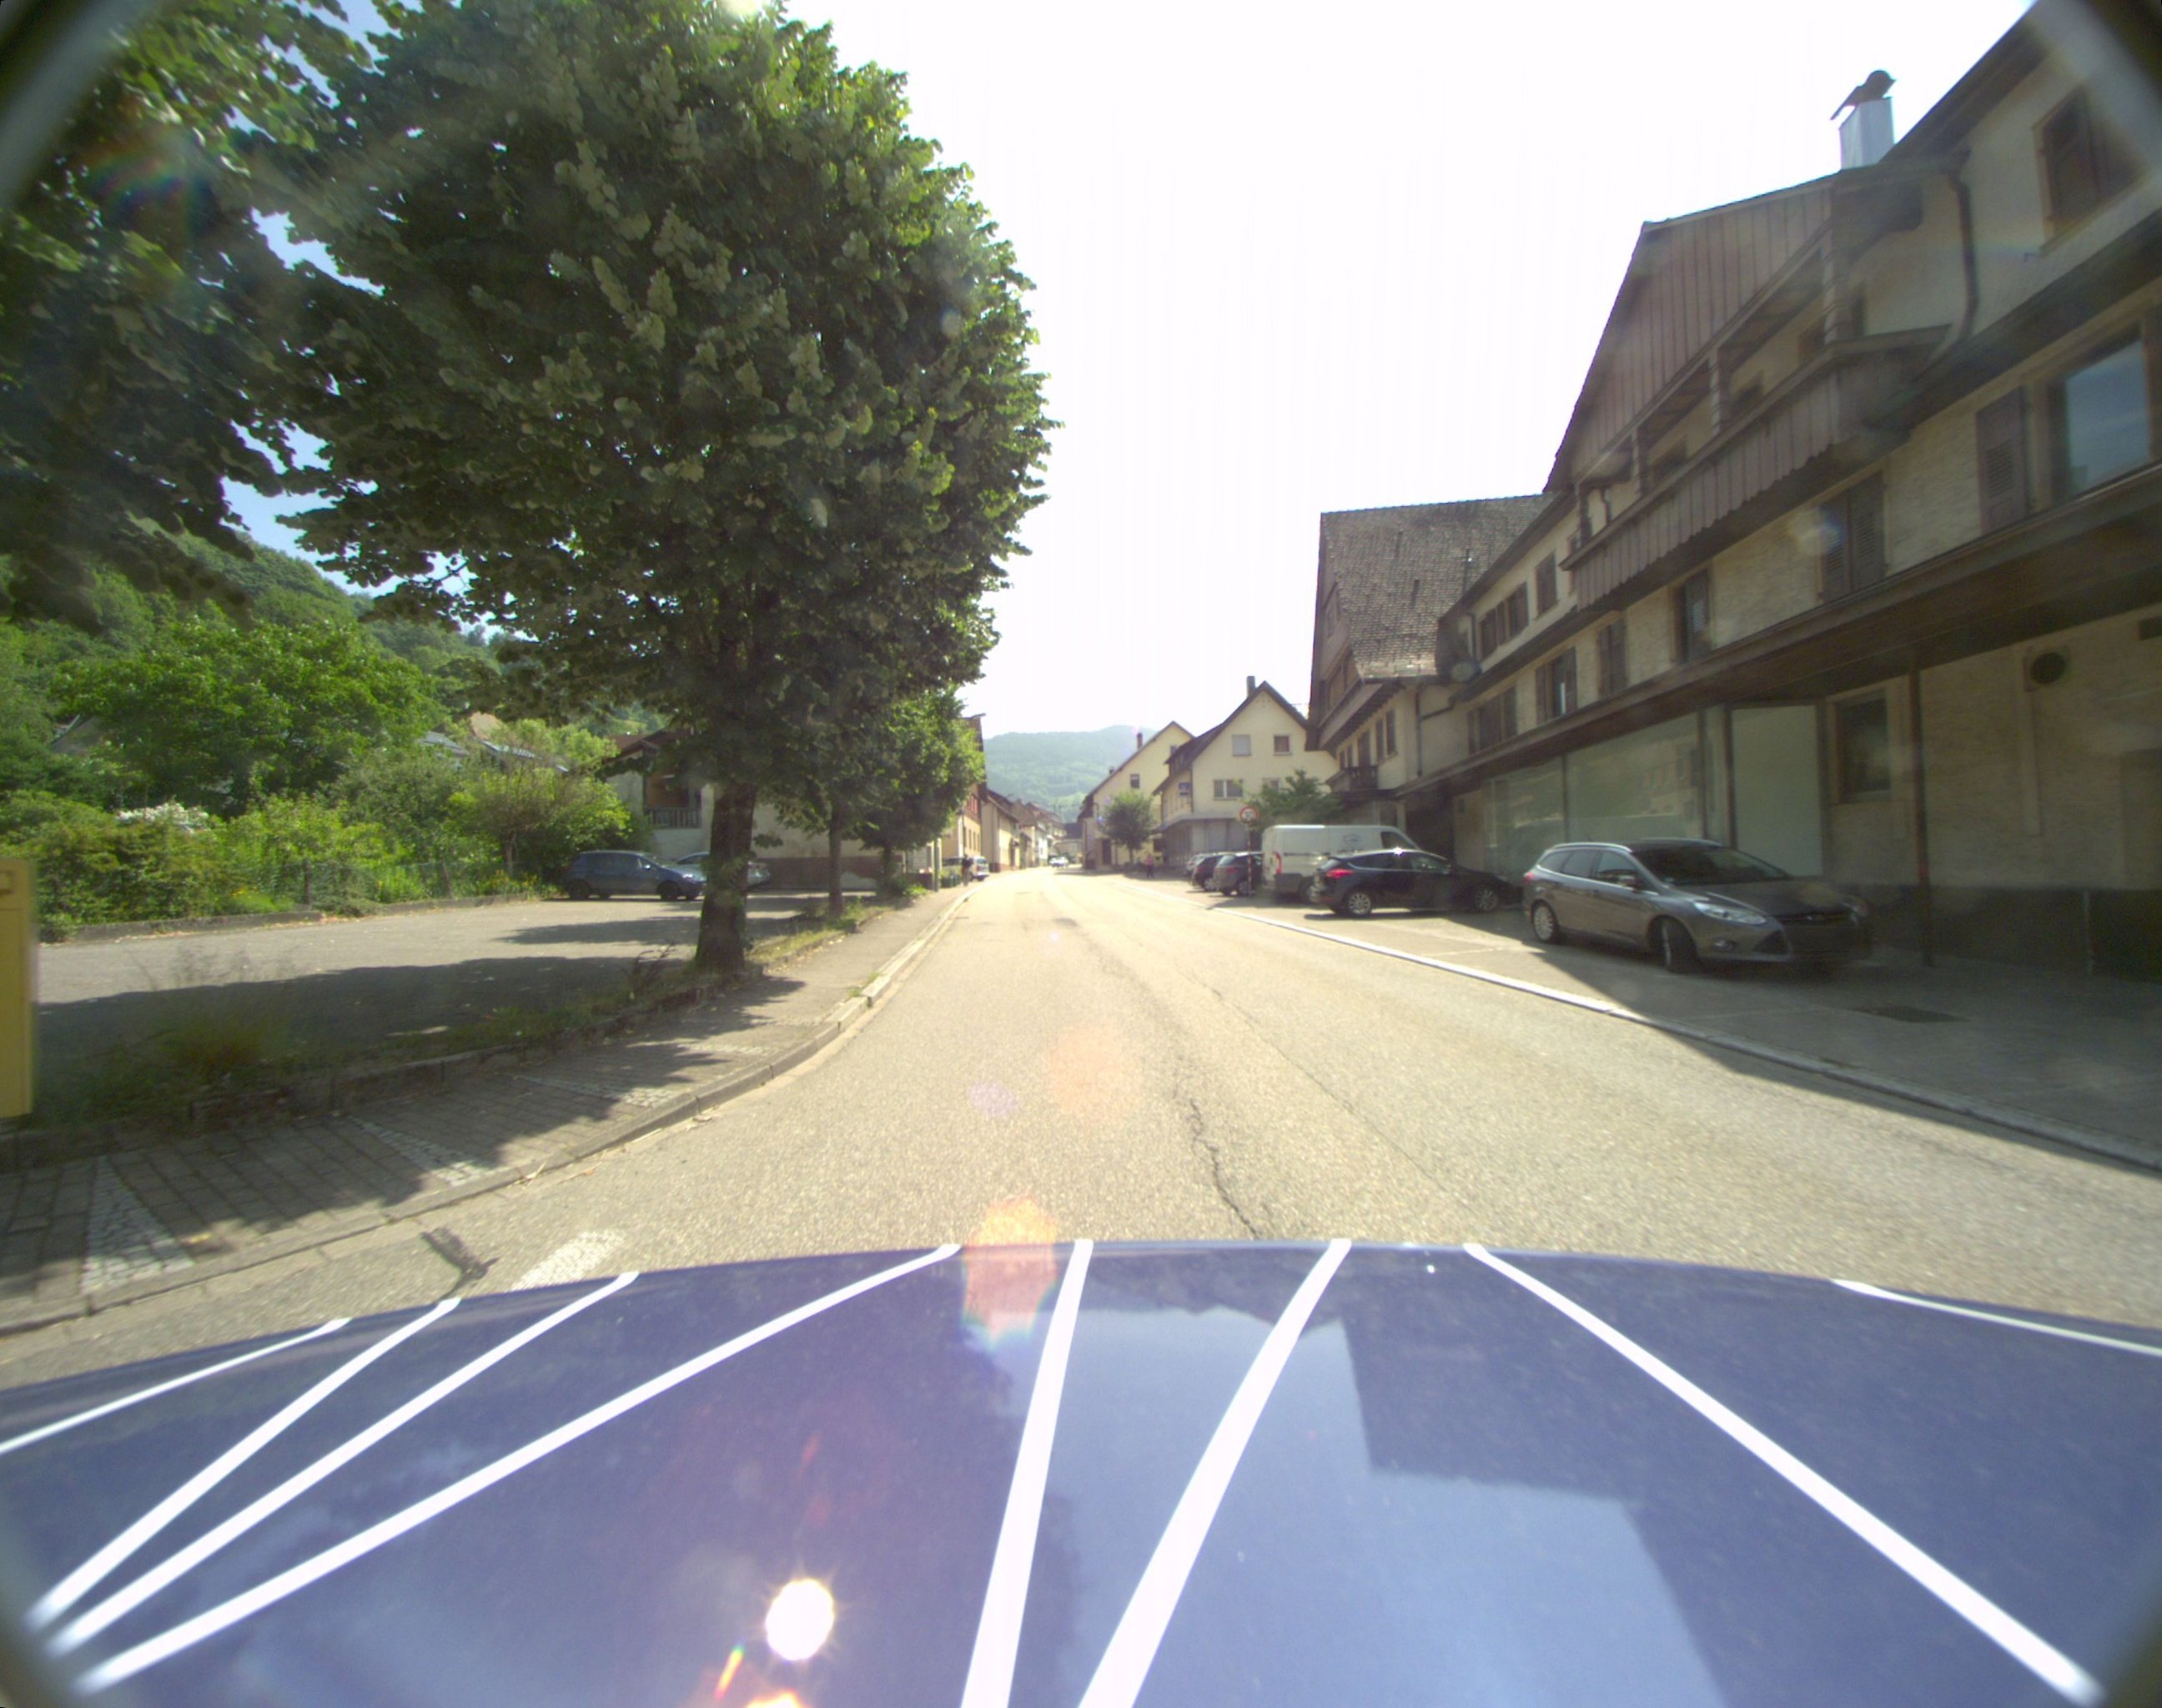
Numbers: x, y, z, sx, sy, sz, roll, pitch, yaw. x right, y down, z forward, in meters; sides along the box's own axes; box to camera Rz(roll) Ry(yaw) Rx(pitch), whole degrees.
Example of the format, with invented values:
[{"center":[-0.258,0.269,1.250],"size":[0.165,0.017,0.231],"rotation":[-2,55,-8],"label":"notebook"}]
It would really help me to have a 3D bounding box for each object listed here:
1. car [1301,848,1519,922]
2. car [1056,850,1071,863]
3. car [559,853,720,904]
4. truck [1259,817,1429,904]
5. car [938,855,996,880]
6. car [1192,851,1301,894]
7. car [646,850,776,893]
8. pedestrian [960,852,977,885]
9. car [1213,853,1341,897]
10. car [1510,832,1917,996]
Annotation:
[{"center":[7.207,0.658,16.997],"size":[4.103,1.494,1.754],"rotation":[-1,0,6],"label":"car"},{"center":[-2.990,0.396,133.566],"size":[1.998,2.002,4.001],"rotation":[-6,0,6],"label":"car"},{"center":[-13.106,0.718,22.746],"size":[3.844,1.399,1.565],"rotation":[1,0,-7],"label":"car"},{"center":[7.490,0.182,21.961],"size":[4.175,2.253,2.000],"rotation":[-2,1,2],"label":"truck"},{"center":[-7.366,0.863,49.291],"size":[3.338,1.587,1.653],"rotation":[0,1,20],"label":"car"},{"center":[6.295,0.674,29.215],"size":[3.994,1.563,1.578],"rotation":[0,1,9],"label":"car"},{"center":[-13.573,0.623,28.062],"size":[3.949,1.463,1.654],"rotation":[1,0,-8],"label":"car"},{"center":[-5.821,0.735,39.282],"size":[0.681,1.661,0.712],"rotation":[0,1,7],"label":"pedestrian"},{"center":[6.604,0.683,25.893],"size":[3.996,1.444,1.628],"rotation":[0,1,3],"label":"car"},{"center":[7.407,0.593,9.606],"size":[1.773,1.544,4.287],"rotation":[-3,0,5],"label":"car"}]
